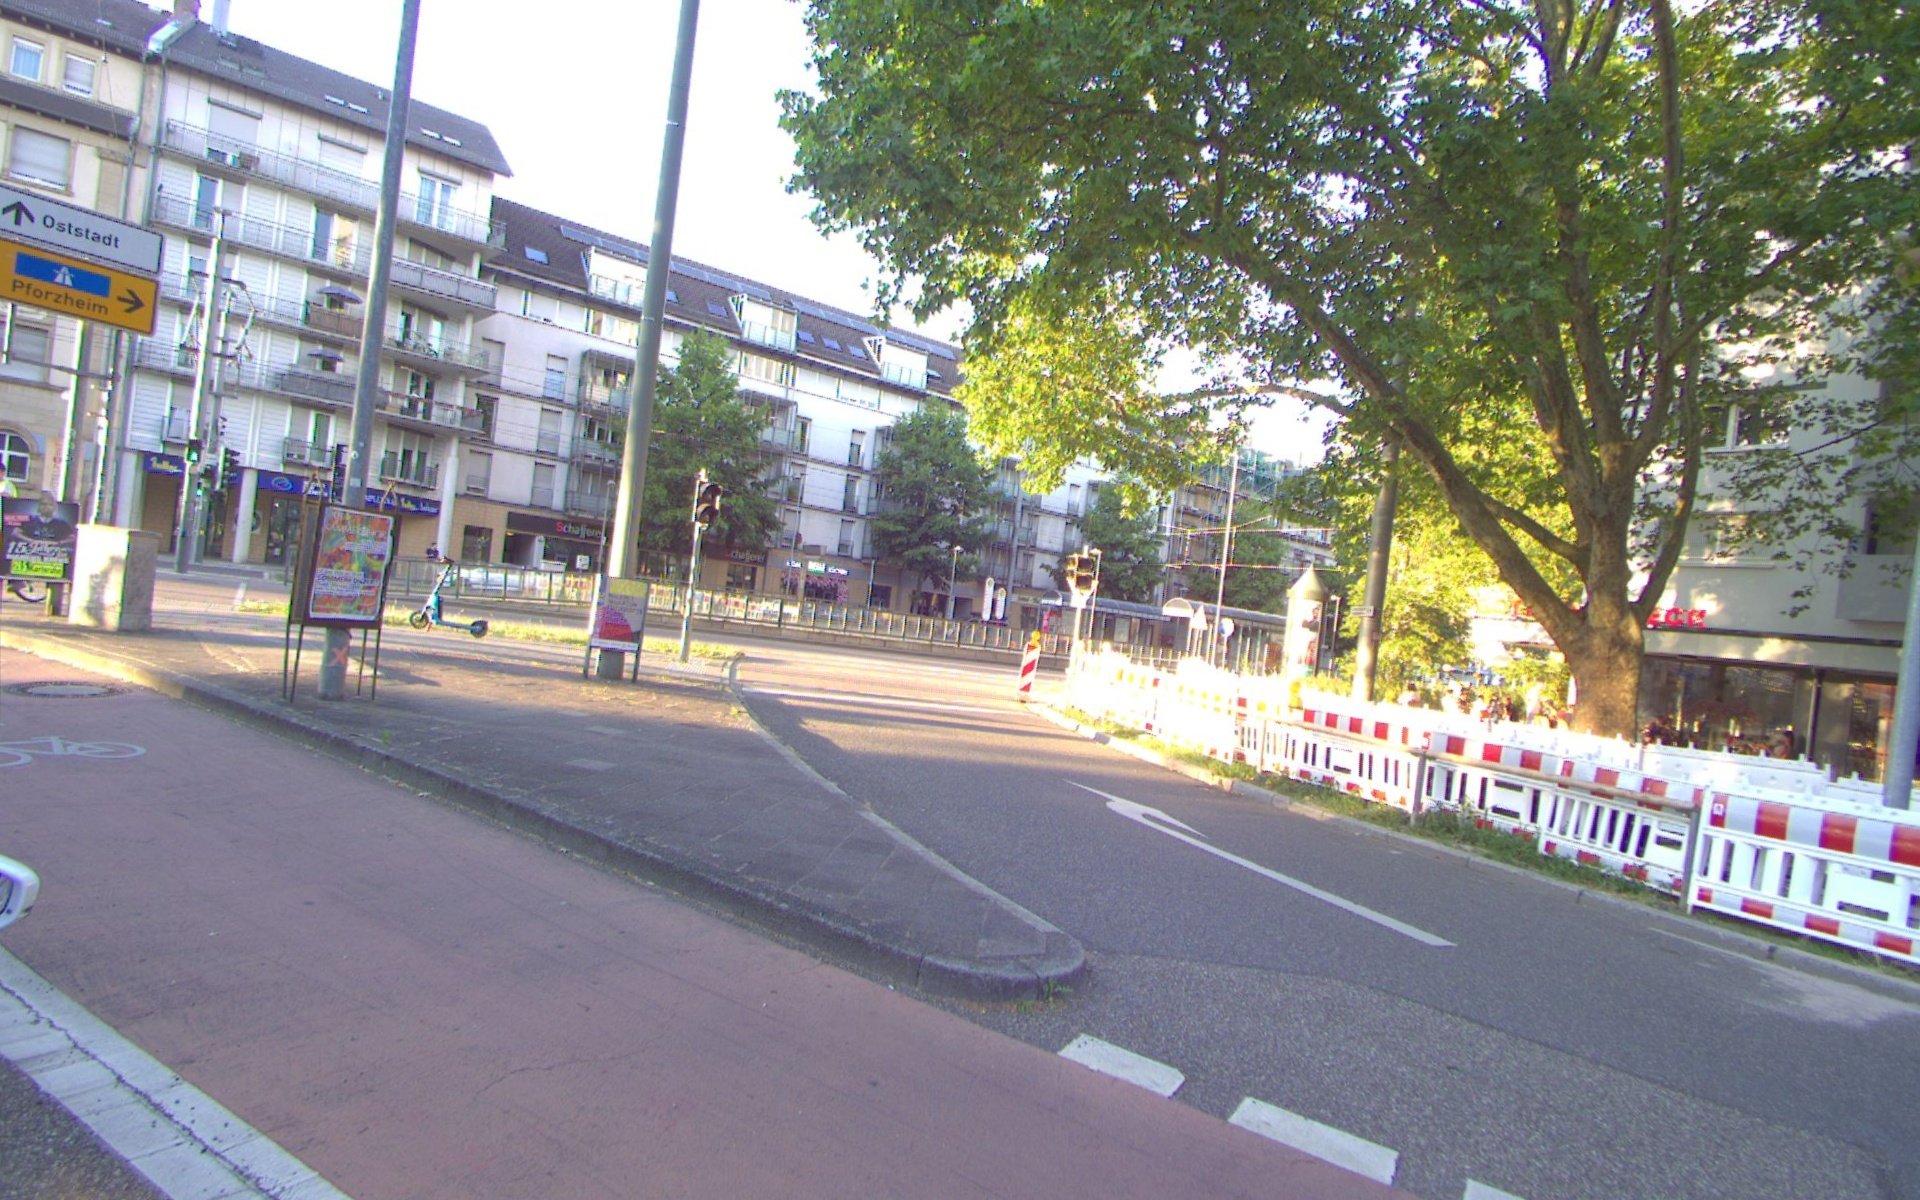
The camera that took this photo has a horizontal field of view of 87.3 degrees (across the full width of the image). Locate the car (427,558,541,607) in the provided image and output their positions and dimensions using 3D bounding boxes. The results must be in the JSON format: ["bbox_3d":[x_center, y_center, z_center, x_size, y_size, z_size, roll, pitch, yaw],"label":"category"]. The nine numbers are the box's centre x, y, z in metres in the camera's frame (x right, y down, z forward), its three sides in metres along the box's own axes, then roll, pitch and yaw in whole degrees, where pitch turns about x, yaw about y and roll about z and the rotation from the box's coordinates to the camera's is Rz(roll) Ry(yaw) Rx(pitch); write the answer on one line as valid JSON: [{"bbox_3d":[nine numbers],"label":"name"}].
[{"bbox_3d":[-19.950,-0.730,42.200,3.964,1.503,1.833,9,-2,-34],"label":"car"}]

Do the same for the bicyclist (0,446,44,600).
[{"bbox_3d":[-11.989,-0.965,12.349,0.617,1.845,0.699,7,-1,0],"label":"bicyclist"}]

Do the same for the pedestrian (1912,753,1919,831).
[{"bbox_3d":[15.699,2.909,15.842,0.733,1.607,0.641,6,-1,25],"label":"pedestrian"}]

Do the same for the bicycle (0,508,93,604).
[{"bbox_3d":[-12.035,-0.588,12.489,0.617,1.122,2.073,7,-2,0],"label":"bicycle"}]

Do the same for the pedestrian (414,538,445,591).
[{"bbox_3d":[-23.617,-1.598,44.794,0.864,2.234,0.812,8,-1,-39],"label":"pedestrian"}]

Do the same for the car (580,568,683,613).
[{"bbox_3d":[-14.930,-0.429,45.859,3.970,1.503,1.830,9,-3,-39],"label":"car"}]

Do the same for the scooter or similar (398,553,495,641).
[{"bbox_3d":[-8.412,-0.044,16.514,1.217,1.264,0.513,8,-1,-19],"label":"scooter or similar"}]
